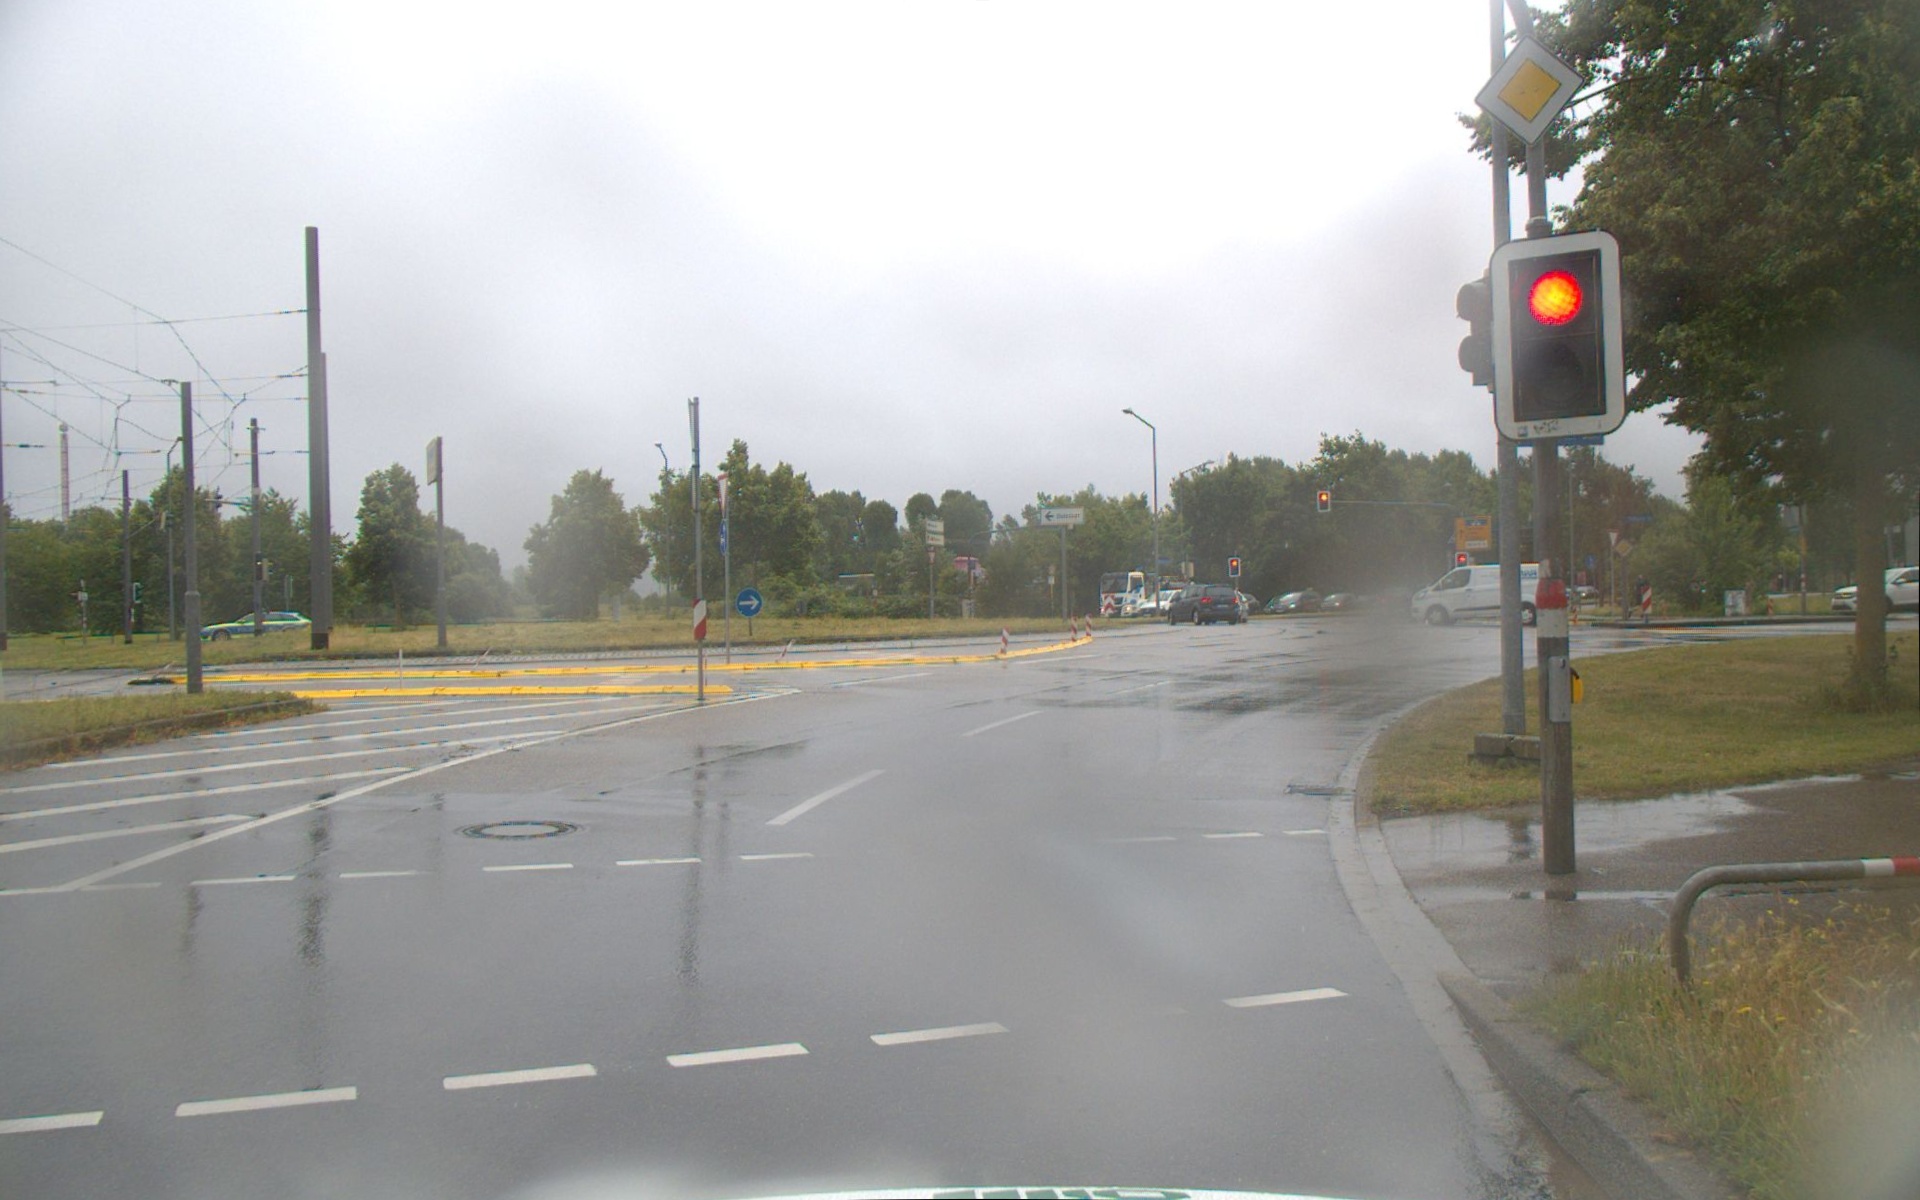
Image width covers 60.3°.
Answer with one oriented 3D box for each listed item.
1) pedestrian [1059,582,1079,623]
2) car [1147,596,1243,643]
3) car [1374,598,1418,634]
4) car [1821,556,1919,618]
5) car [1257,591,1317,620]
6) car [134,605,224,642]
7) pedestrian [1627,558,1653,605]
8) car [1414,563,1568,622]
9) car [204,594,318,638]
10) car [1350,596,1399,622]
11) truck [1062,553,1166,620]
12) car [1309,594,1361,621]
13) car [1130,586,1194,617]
[{"bbox_3d":[3.598,0.093,54.349,0.445,1.327,0.484,-1,0,38],"label":"pedestrian"},{"bbox_3d":[9.720,0.801,68.695,1.964,1.884,4.748,1,-1,-20],"label":"car"},{"bbox_3d":[18.782,0.659,71.341,1.583,1.479,3.991,-1,0,11],"label":"car"},{"bbox_3d":[30.275,-0.450,52.728,4.667,1.883,1.998,-1,0,-5],"label":"car"},{"bbox_3d":[20.300,0.325,102.518,1.769,1.691,4.386,0,-1,40],"label":"car"},{"bbox_3d":[-40.039,1.208,84.857,1.644,1.848,3.994,1,-1,28],"label":"car"},{"bbox_3d":[27.476,-0.743,66.856,0.799,1.901,0.668,1,-1,7],"label":"pedestrian"},{"bbox_3d":[17.770,-0.248,55.341,4.667,1.884,1.998,1,-1,27],"label":"car"},{"bbox_3d":[-32.158,0.716,76.095,4.705,1.883,1.982,-1,0,-28],"label":"car"},{"bbox_3d":[28.679,0.646,114.316,1.769,1.691,3.979,0,-1,40],"label":"car"},{"bbox_3d":[7.020,-0.543,74.197,2.411,2.733,8.058,1,-1,22],"label":"truck"},{"bbox_3d":[24.469,0.476,107.764,1.768,1.691,3.981,0,-1,38],"label":"car"},{"bbox_3d":[11.787,0.079,96.341,1.769,1.691,4.112,0,-1,40],"label":"car"}]
